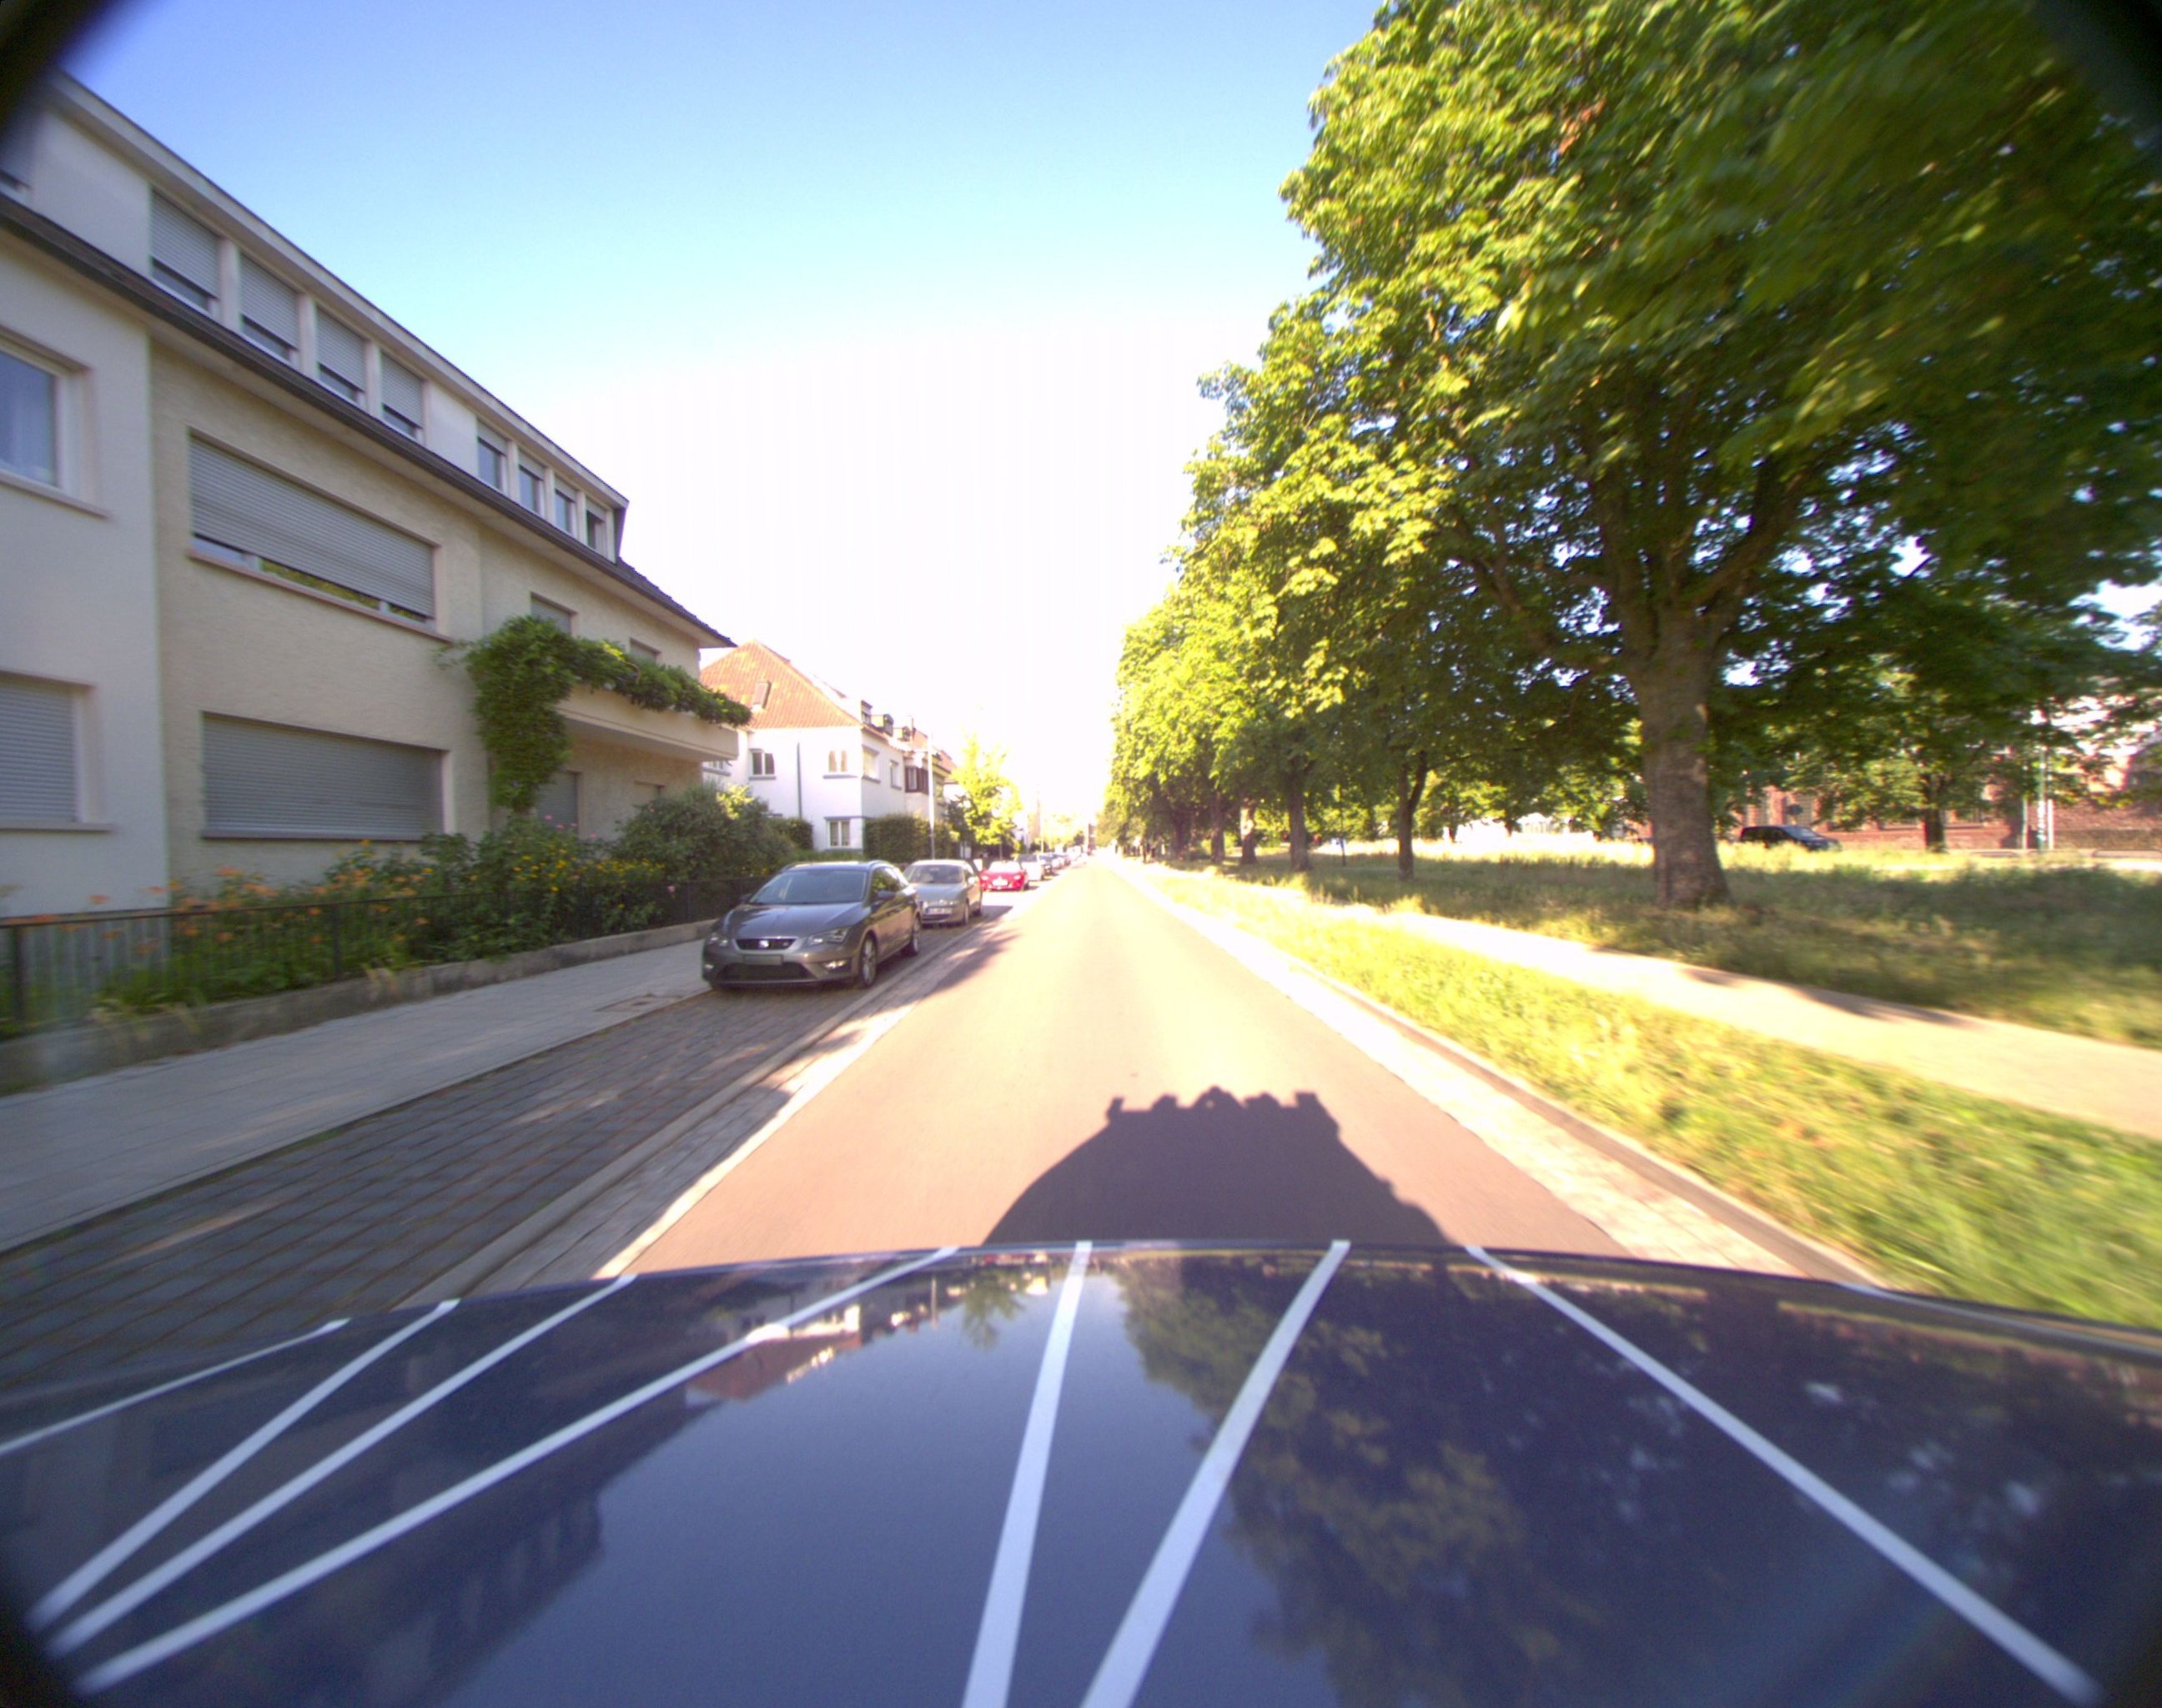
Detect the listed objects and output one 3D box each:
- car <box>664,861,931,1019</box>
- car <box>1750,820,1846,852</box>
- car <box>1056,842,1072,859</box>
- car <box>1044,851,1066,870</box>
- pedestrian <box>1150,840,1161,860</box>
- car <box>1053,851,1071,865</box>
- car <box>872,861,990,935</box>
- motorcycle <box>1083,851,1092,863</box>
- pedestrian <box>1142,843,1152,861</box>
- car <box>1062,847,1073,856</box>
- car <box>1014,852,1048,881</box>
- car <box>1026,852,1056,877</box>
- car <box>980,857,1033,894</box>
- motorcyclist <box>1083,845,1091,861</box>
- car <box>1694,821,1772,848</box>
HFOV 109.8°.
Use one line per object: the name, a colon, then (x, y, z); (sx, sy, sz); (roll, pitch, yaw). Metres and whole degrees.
car: (-3.260, 0.887, 9.726); (1.798, 1.486, 4.193); (0, 1, 1)
car: (37.395, -0.954, 39.752); (1.585, 1.473, 3.639); (-3, 2, 1)
car: (-2.293, -0.541, 103.837); (1.844, 2.196, 3.763); (-2, 1, 1)
car: (-2.280, 0.512, 66.642); (1.665, 1.527, 3.832); (-1, 1, 2)
pedestrian: (6.939, -0.388, 70.651); (0.625, 1.841, 0.606); (-2, 3, 40)
car: (-2.165, 0.414, 86.779); (1.844, 1.471, 3.763); (-2, 1, 2)
car: (-3.203, 0.894, 17.037); (1.798, 1.372, 4.077); (0, 1, 1)
motorcycle: (0.783, 0.378, 99.462); (1.077, 1.373, 2.463); (-3, 1, 0)
pedestrian: (6.135, -0.202, 70.694); (0.625, 1.621, 0.606); (-2, 2, 27)
car: (-2.411, -0.425, 135.025); (1.844, 1.471, 3.763); (-2, 1, 0)
car: (-2.673, 0.648, 41.239); (1.508, 1.471, 3.492); (-1, 1, 1)
car: (-2.621, 0.649, 50.661); (1.746, 1.471, 4.056); (-2, 1, 0)
car: (-2.976, 0.847, 31.100); (1.702, 1.250, 3.879); (-1, 2, 1)
motorcyclist: (0.756, -0.130, 99.379); (0.961, 2.002, 1.273); (-3, 2, 0)
car: (43.227, -1.267, 50.488); (1.766, 1.619, 3.999); (-3, 1, 1)
